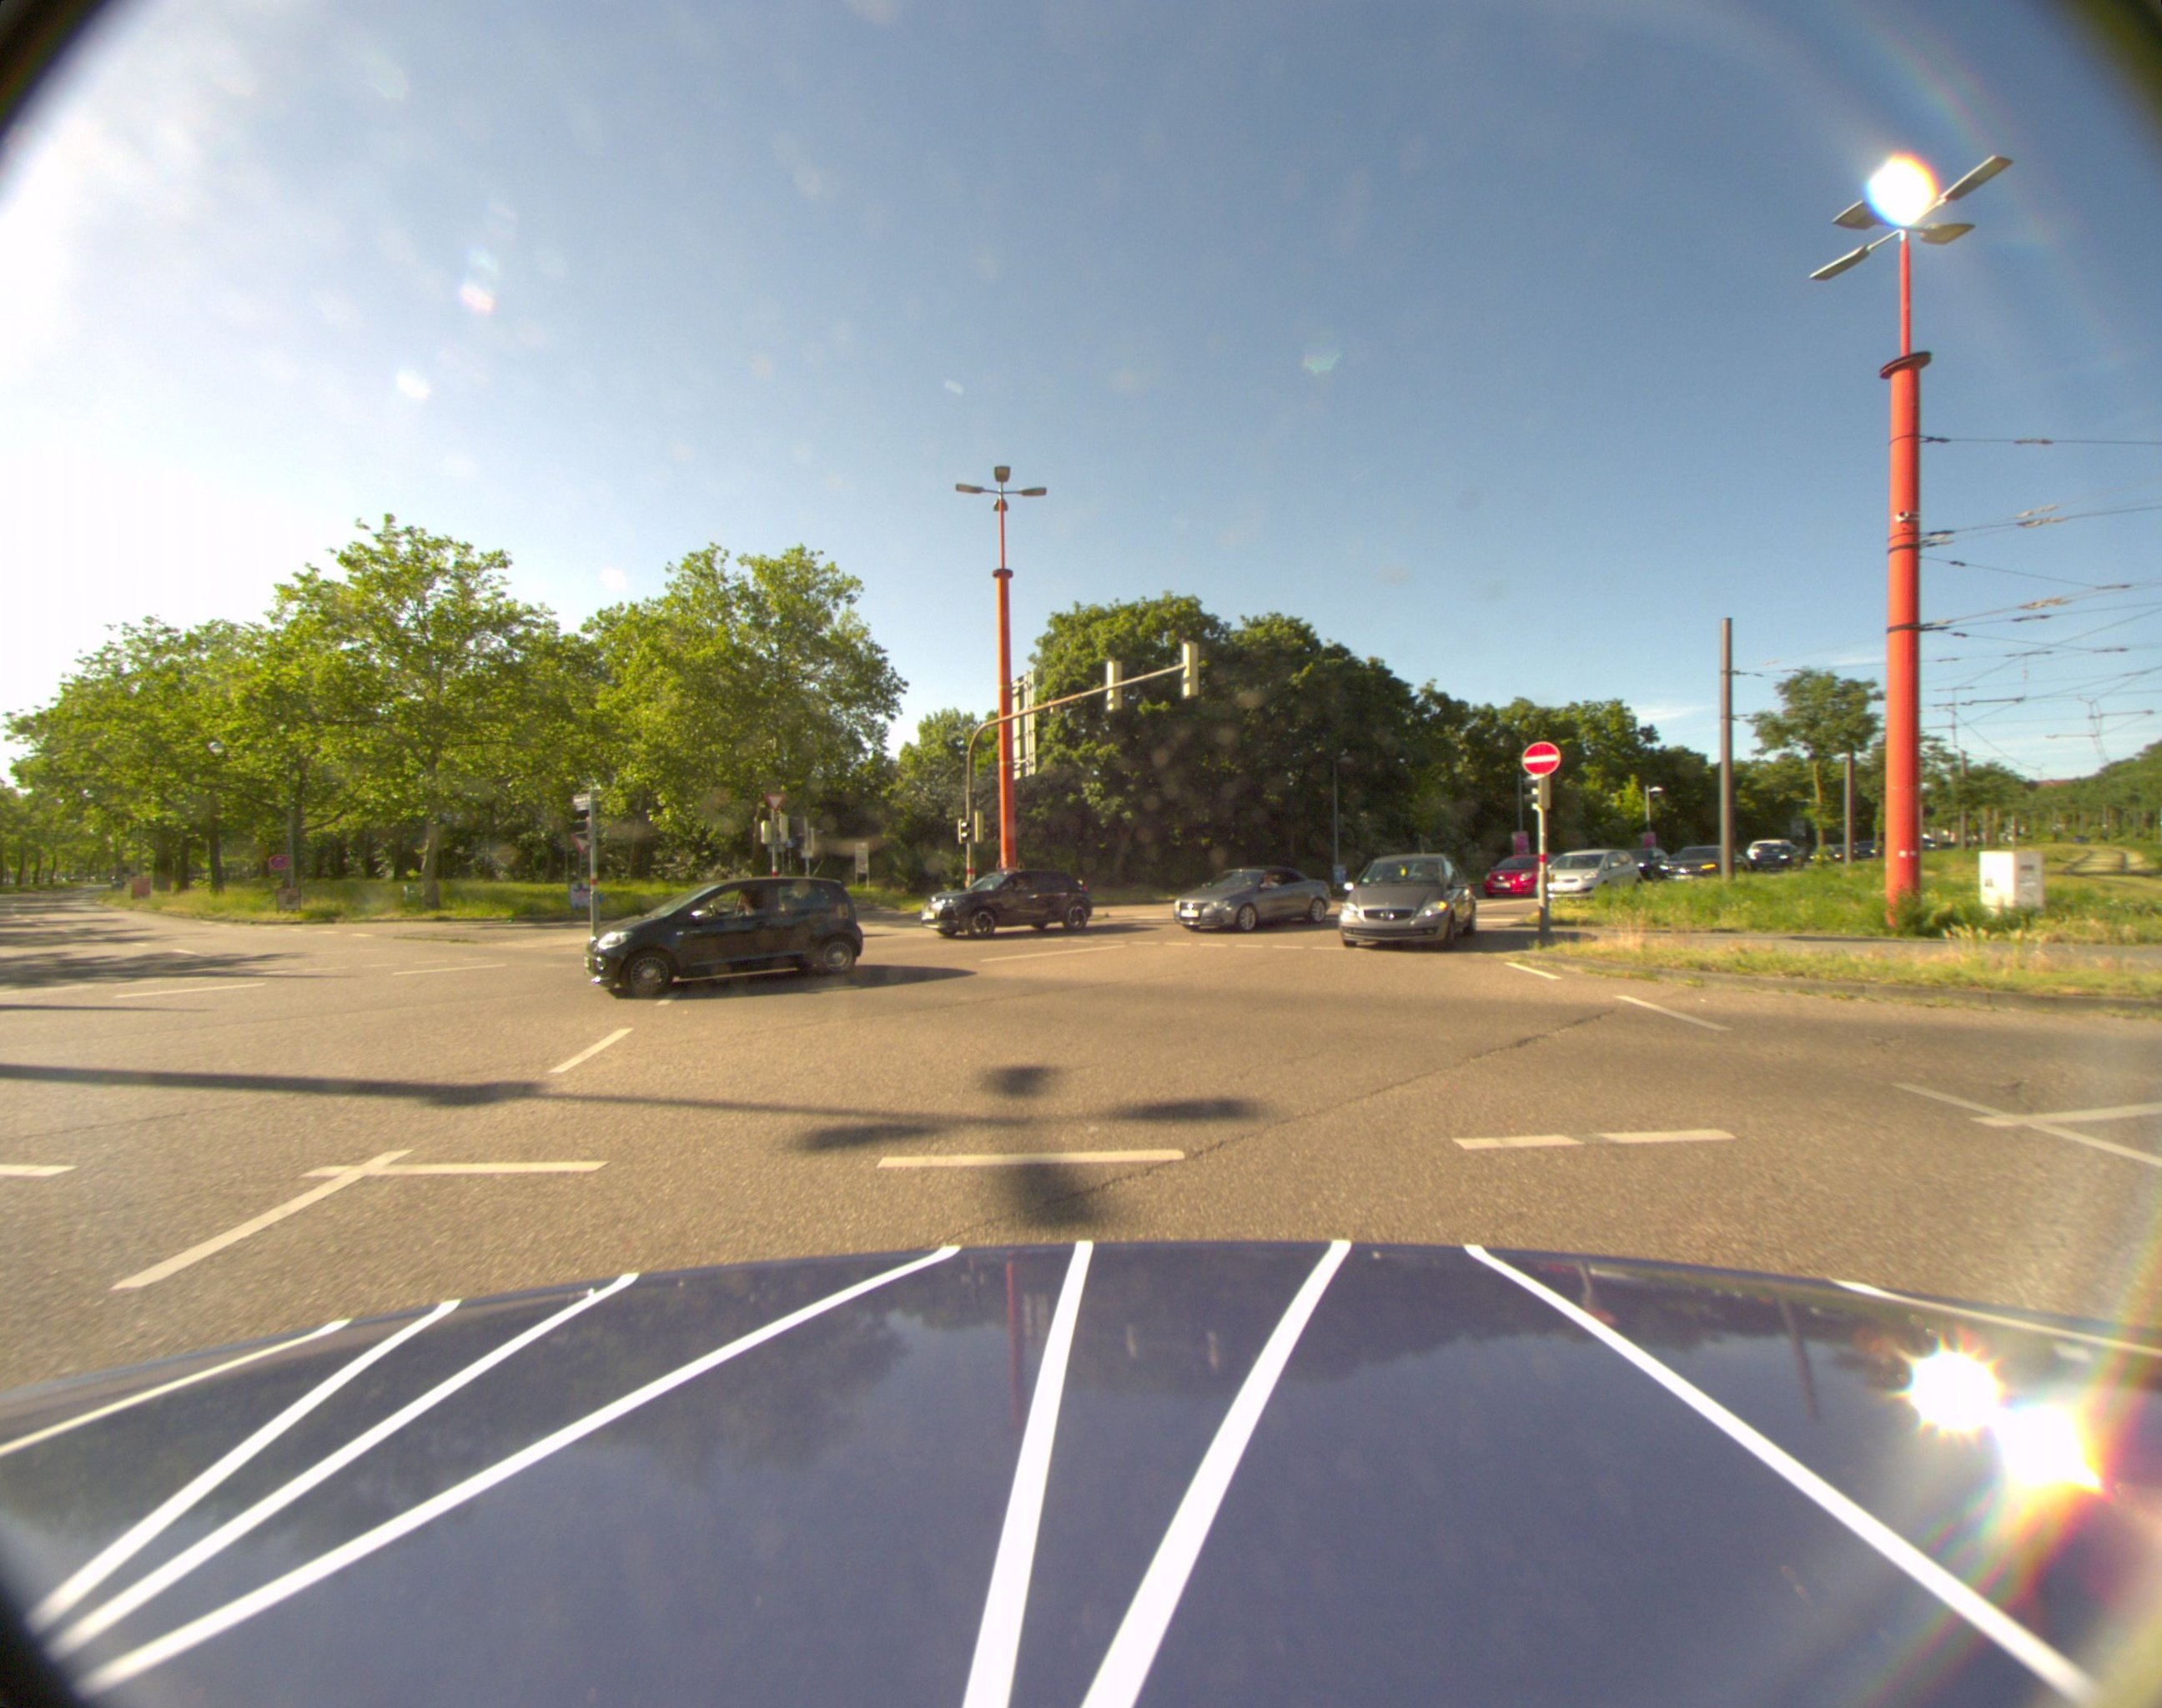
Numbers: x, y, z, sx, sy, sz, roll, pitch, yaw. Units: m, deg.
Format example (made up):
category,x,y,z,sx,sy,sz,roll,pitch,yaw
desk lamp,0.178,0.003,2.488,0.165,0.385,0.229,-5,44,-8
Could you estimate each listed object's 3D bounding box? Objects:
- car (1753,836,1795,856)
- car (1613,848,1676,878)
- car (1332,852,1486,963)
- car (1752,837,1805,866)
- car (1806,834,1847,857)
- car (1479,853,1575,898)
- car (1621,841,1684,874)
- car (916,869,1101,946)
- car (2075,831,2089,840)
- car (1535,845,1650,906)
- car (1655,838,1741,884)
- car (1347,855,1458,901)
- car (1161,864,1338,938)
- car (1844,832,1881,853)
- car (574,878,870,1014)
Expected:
category,x,y,z,sx,sy,sz,roll,pitch,yaw
car,53.545,-0.628,58.665,3.971,1.485,1.711,-2,0,-38
car,30.834,0.493,41.529,3.971,1.485,1.711,-2,0,-38
car,6.074,0.838,13.815,1.745,1.631,4.008,-1,1,35
car,43.758,-0.187,47.658,4.007,1.652,1.746,-2,-1,-38
car,54.759,-0.603,55.776,3.819,1.555,1.628,-2,-1,-38
car,16.066,0.751,27.326,3.734,1.437,1.682,-2,-1,-38
car,31.586,0.162,41.993,4.007,1.652,1.746,-2,-1,-38
car,-1.645,1.176,17.827,3.971,1.485,1.711,-2,0,-38
car,184.299,-3.380,139.893,3.916,1.411,1.575,-1,-1,-37
car,15.943,0.636,23.640,4.007,1.652,1.746,-2,-1,-38
car,24.127,0.247,29.661,4.007,1.652,1.745,-1,0,-38
car,11.885,0.850,28.001,4.394,1.427,1.746,-2,0,-37
car,4.000,1.018,17.719,4.179,1.430,1.711,-2,0,-38
car,66.389,-1.012,64.528,3.834,1.652,1.691,-2,-1,-38
car,-4.959,1.148,10.674,3.459,1.485,1.618,-1,-1,-38
